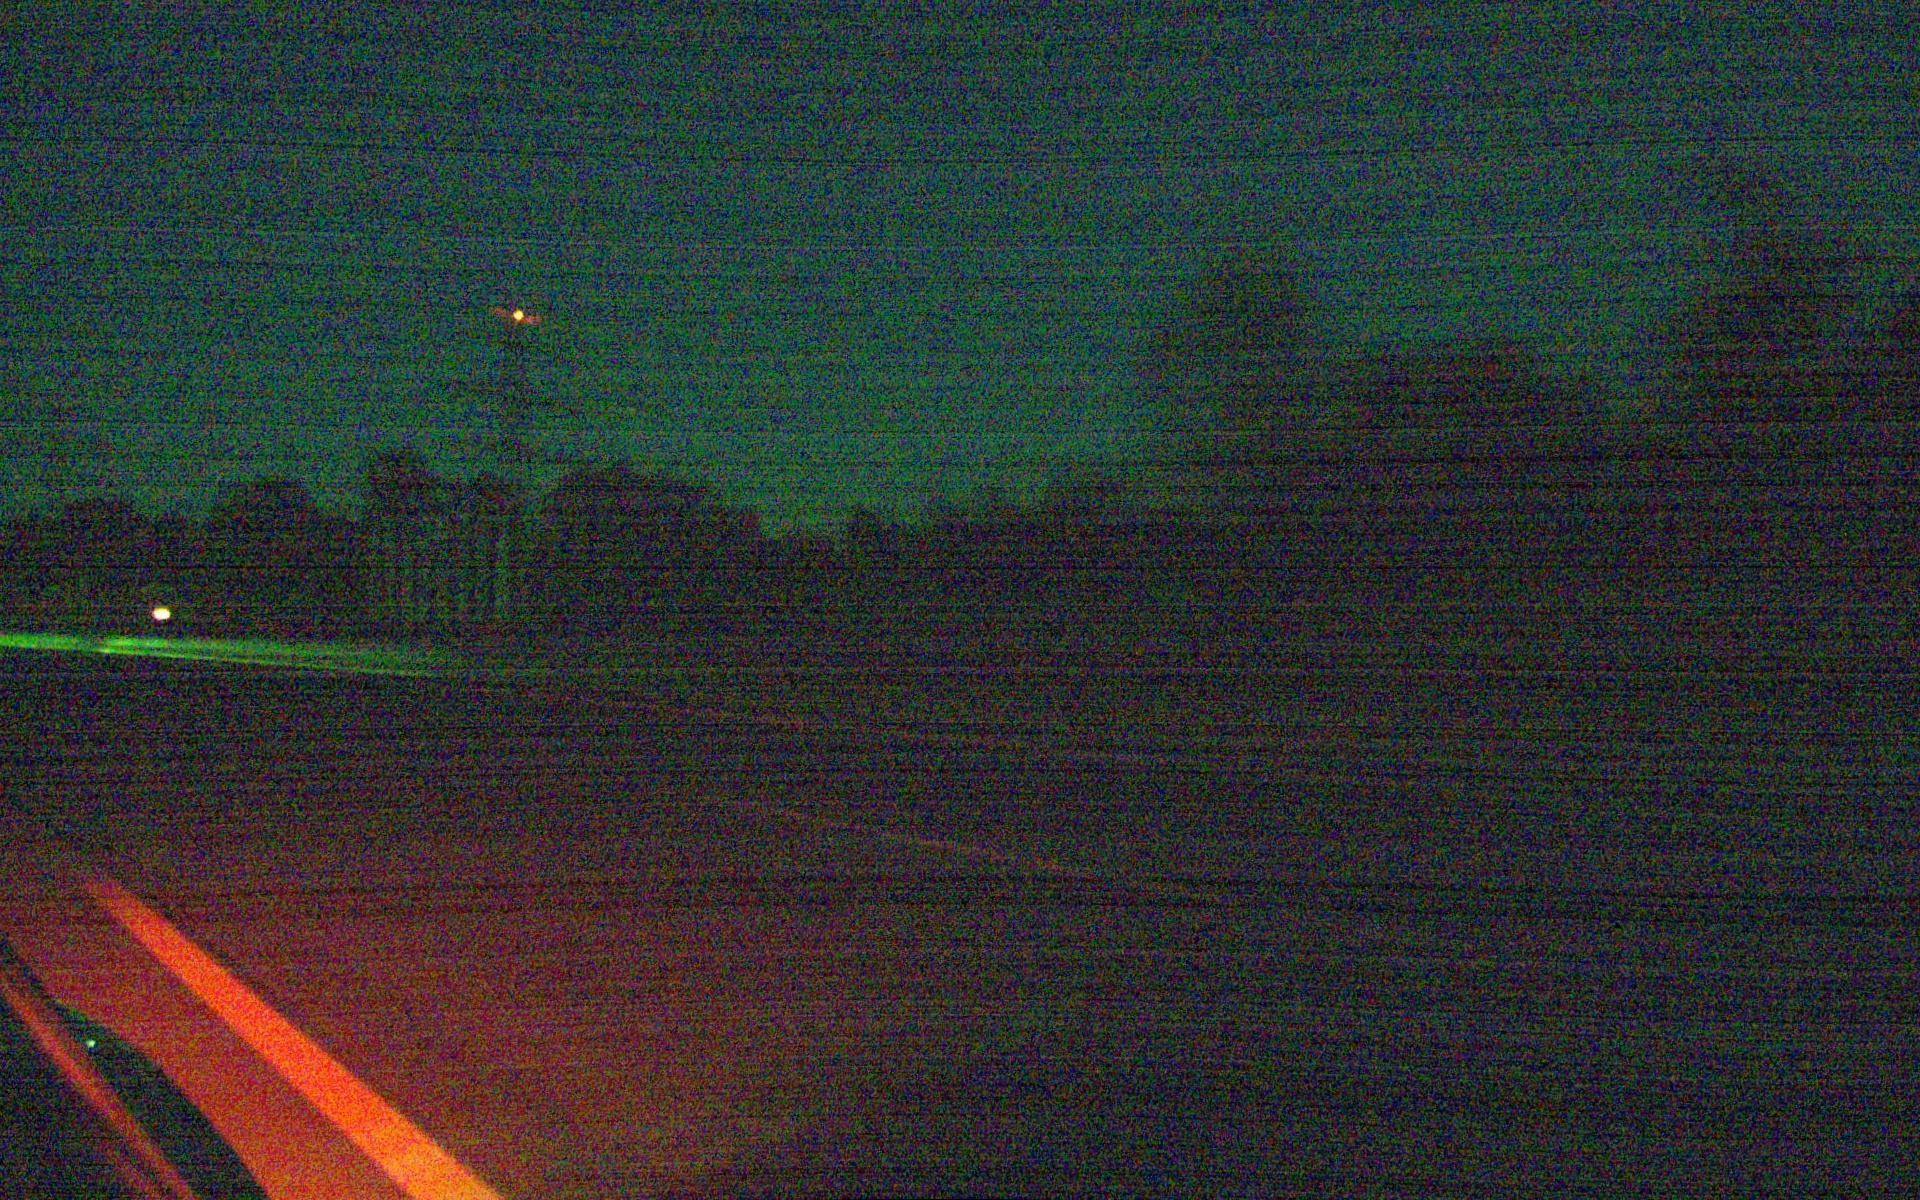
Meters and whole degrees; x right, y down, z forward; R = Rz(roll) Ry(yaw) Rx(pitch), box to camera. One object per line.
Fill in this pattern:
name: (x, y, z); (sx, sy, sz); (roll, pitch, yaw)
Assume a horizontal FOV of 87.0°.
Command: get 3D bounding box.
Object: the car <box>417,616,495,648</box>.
car: (-27.045, 1.696, 54.268); (4.893, 1.610, 2.030); (-1, -1, 41)
